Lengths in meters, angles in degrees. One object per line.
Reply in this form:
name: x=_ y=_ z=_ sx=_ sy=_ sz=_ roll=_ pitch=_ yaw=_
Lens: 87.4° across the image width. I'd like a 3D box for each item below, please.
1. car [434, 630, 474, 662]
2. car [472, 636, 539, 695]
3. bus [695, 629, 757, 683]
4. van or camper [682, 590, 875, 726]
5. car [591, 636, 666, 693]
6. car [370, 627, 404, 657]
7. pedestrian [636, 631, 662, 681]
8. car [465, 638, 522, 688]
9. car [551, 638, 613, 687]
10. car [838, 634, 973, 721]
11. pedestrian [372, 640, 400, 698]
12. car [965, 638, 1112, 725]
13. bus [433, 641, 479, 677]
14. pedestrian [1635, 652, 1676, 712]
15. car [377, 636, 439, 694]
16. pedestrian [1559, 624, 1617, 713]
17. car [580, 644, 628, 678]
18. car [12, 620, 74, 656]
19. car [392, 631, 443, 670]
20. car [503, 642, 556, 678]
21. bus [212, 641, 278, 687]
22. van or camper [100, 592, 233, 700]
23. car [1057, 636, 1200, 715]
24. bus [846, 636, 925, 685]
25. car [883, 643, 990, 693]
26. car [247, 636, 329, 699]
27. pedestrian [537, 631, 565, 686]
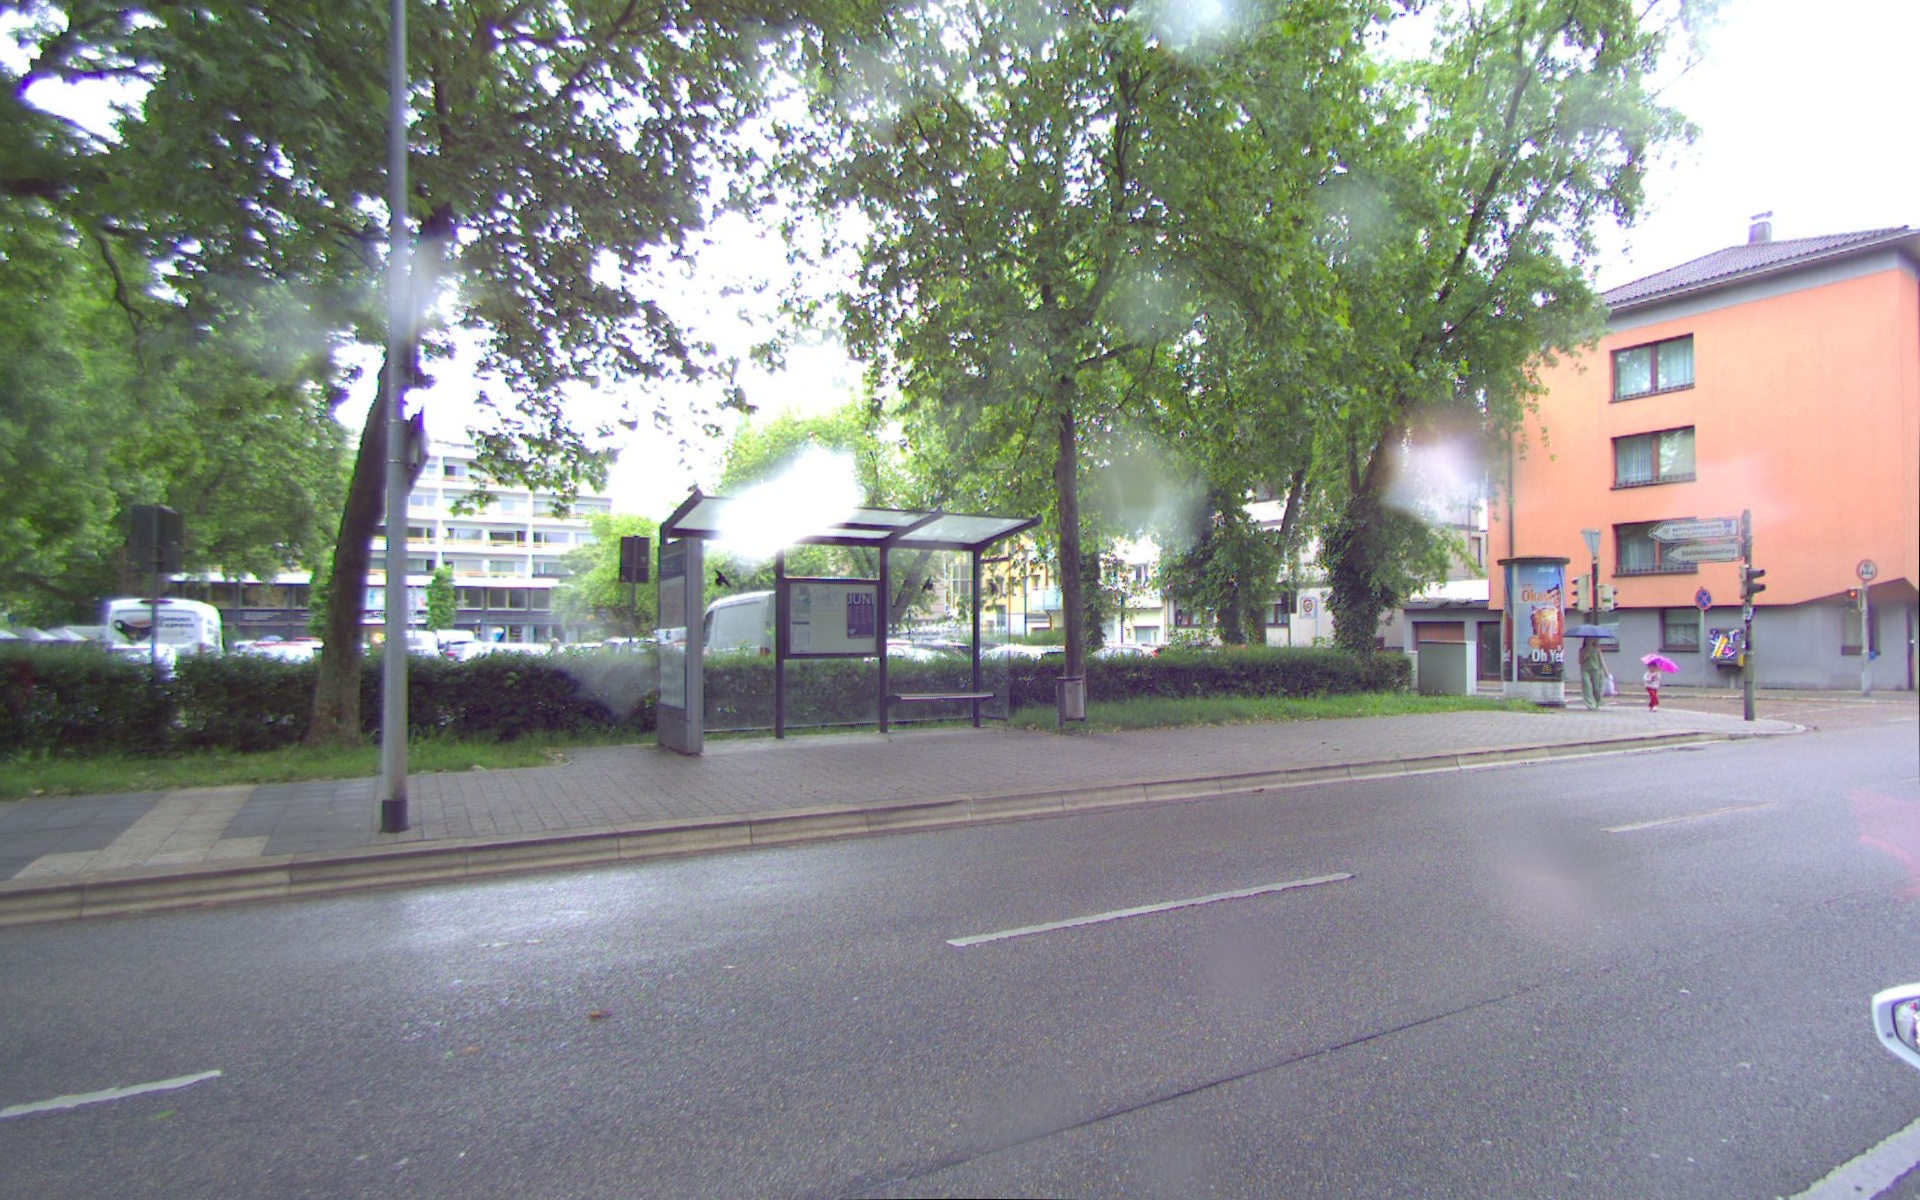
car: x=-27.261 y=2.434 z=54.063 sx=1.622 sy=1.544 sz=3.174 roll=2 pitch=0 yaw=-32
car: x=-12.094 y=1.698 z=26.638 sx=1.375 sy=1.454 sz=3.248 roll=1 pitch=-3 yaw=-29
bus: x=-7.835 y=1.852 z=33.513 sx=1.363 sy=1.698 sz=2.779 roll=1 pitch=-3 yaw=-28
van or camper: x=-3.497 y=1.047 z=18.642 sx=2.026 sy=2.198 sz=4.458 roll=2 pitch=-3 yaw=-32
car: x=-9.116 y=1.735 z=27.495 sx=1.375 sy=1.454 sz=3.248 roll=1 pitch=-3 yaw=-29
car: x=-33.050 y=2.376 z=57.903 sx=1.622 sy=1.544 sz=3.174 roll=1 pitch=1 yaw=-32
pedestrian: x=-7.714 y=1.383 z=24.915 sx=0.462 sy=1.229 sz=0.434 roll=2 pitch=0 yaw=-37
car: x=-14.547 y=1.938 z=31.270 sx=1.375 sy=1.454 sz=3.248 roll=1 pitch=-3 yaw=-29
car: x=-11.962 y=1.941 z=31.671 sx=1.375 sy=1.454 sz=3.248 roll=1 pitch=-3 yaw=-29
car: x=-1.215 y=1.566 z=21.178 sx=1.492 sy=1.544 sz=3.174 roll=2 pitch=0 yaw=-32
pedestrian: x=-12.581 y=1.511 z=22.021 sx=0.462 sy=1.229 sz=0.434 roll=2 pitch=0 yaw=-37
car: x=1.580 y=1.651 z=21.162 sx=1.492 sy=1.544 sz=3.174 roll=2 pitch=0 yaw=-32
bus: x=-22.378 y=2.592 z=44.560 sx=1.587 sy=1.559 sz=3.403 roll=2 pitch=-3 yaw=-30
pedestrian: x=14.715 y=1.720 z=21.255 sx=0.675 sy=1.190 sz=0.824 roll=1 pitch=0 yaw=34
car: x=-14.737 y=1.705 z=26.841 sx=1.375 sy=1.454 sz=3.248 roll=1 pitch=-3 yaw=-29
pedestrian: x=13.198 y=1.400 z=21.107 sx=0.978 sy=1.765 sz=1.206 roll=1 pitch=0 yaw=34
car: x=-15.203 y=2.563 z=42.819 sx=1.332 sy=1.401 sz=3.141 roll=2 pitch=-3 yaw=-30
car: x=-40.832 y=1.671 z=44.775 sx=1.412 sy=1.447 sz=2.941 roll=1 pitch=0 yaw=-30
car: x=-20.906 y=1.929 z=38.676 sx=1.587 sy=1.447 sz=3.293 roll=2 pitch=-3 yaw=-30
car: x=-17.702 y=2.437 z=41.227 sx=1.587 sy=1.447 sz=3.293 roll=2 pitch=-3 yaw=-30
bus: x=-25.554 y=2.254 z=36.005 sx=1.587 sy=1.559 sz=3.403 roll=2 pitch=-3 yaw=-30
van or camper: x=-20.702 y=1.203 z=26.411 sx=2.074 sy=2.570 sz=4.391 roll=1 pitch=-3 yaw=-30
car: x=3.801 y=1.676 z=23.033 sx=1.492 sy=1.544 sz=3.174 roll=2 pitch=0 yaw=-32
bus: x=-2.362 y=1.880 z=31.416 sx=1.364 sy=1.451 sz=2.777 roll=2 pitch=-3 yaw=-30
car: x=-0.838 y=2.214 z=33.509 sx=1.799 sy=1.536 sz=3.965 roll=2 pitch=-3 yaw=-33
car: x=-16.515 y=1.625 z=24.780 sx=1.375 sy=1.454 sz=3.248 roll=1 pitch=-3 yaw=-29
pedestrian: x=-9.361 y=1.324 z=22.986 sx=0.462 sy=1.229 sz=0.434 roll=2 pitch=0 yaw=-37
